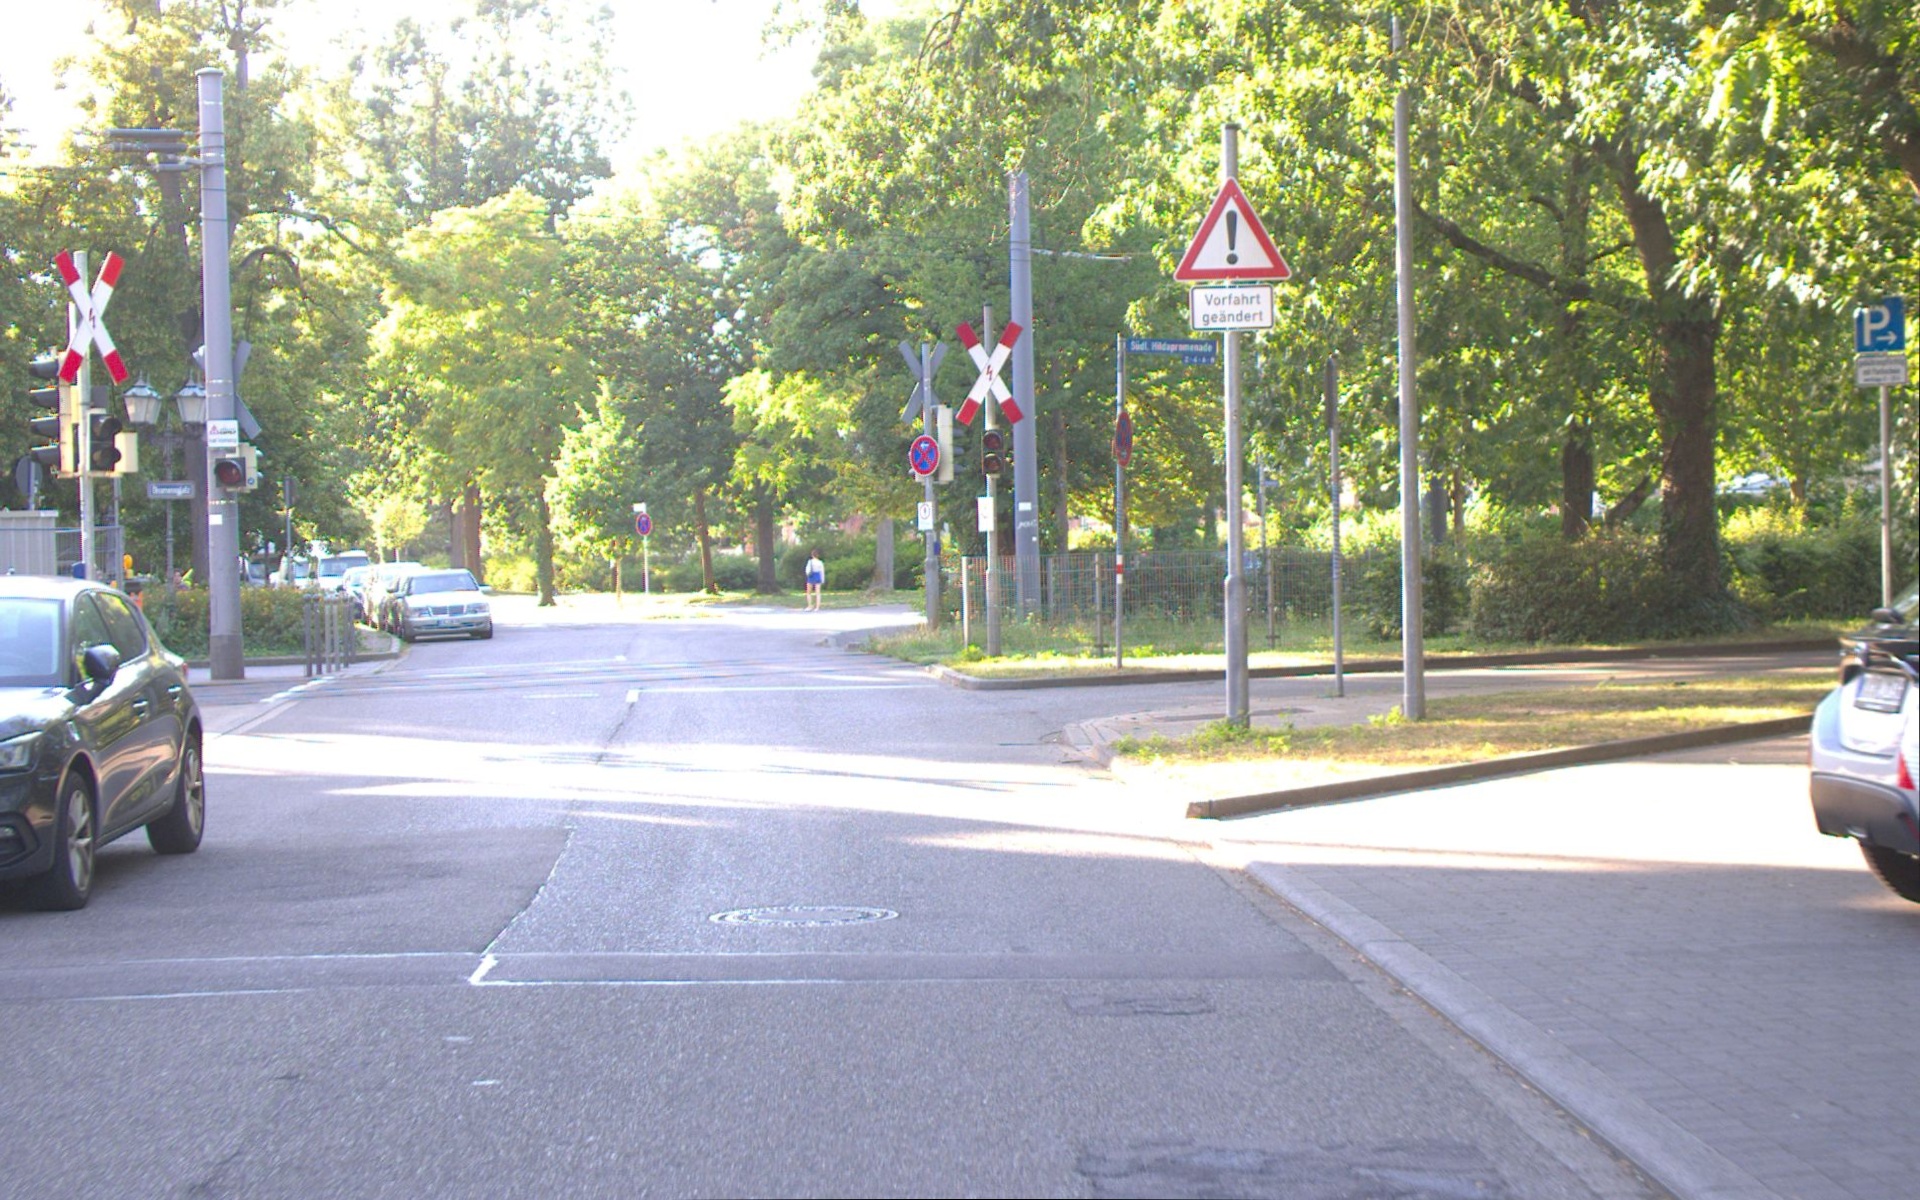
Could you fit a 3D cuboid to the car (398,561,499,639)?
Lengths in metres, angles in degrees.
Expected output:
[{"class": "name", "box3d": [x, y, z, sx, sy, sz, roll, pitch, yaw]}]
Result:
[{"class": "car", "box3d": [-10.367, -0.027, 69.487, 1.779, 1.411, 4.499, -3, 1, -11]}]

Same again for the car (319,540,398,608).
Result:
[{"class": "car", "box3d": [-17.937, -0.787, 102.402, 1.850, 1.939, 4.842, -1, 1, -15]}]

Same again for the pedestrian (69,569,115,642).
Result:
[{"class": "pedestrian", "box3d": [-14.915, 0.084, 59.068, 0.551, 1.228, 0.725, -1, 1, 3]}]

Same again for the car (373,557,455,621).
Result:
[{"class": "car", "box3d": [-13.161, -0.280, 82.734, 1.612, 1.435, 3.607, -3, 1, -14]}]

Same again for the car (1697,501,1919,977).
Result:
[{"class": "car", "box3d": [4.840, 0.342, 12.176, 3.987, 1.541, 1.735, -3, 1, -2]}]

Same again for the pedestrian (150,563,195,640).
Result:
[{"class": "pedestrian", "box3d": [-13.603, 0.024, 59.385, 0.551, 1.293, 0.766, -1, 1, 3]}]

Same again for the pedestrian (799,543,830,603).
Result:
[{"class": "pedestrian", "box3d": [-3.868, -0.727, 91.398, 0.773, 1.569, 0.768, -1, 1, -5]}]

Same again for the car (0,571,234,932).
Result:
[{"class": "car", "box3d": [-4.690, 0.616, 15.982, 1.743, 1.443, 4.208, -1, 1, -1]}]

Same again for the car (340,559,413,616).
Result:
[{"class": "car", "box3d": [-15.987, -0.361, 94.139, 1.615, 1.496, 3.698, -1, 1, -15]}]
